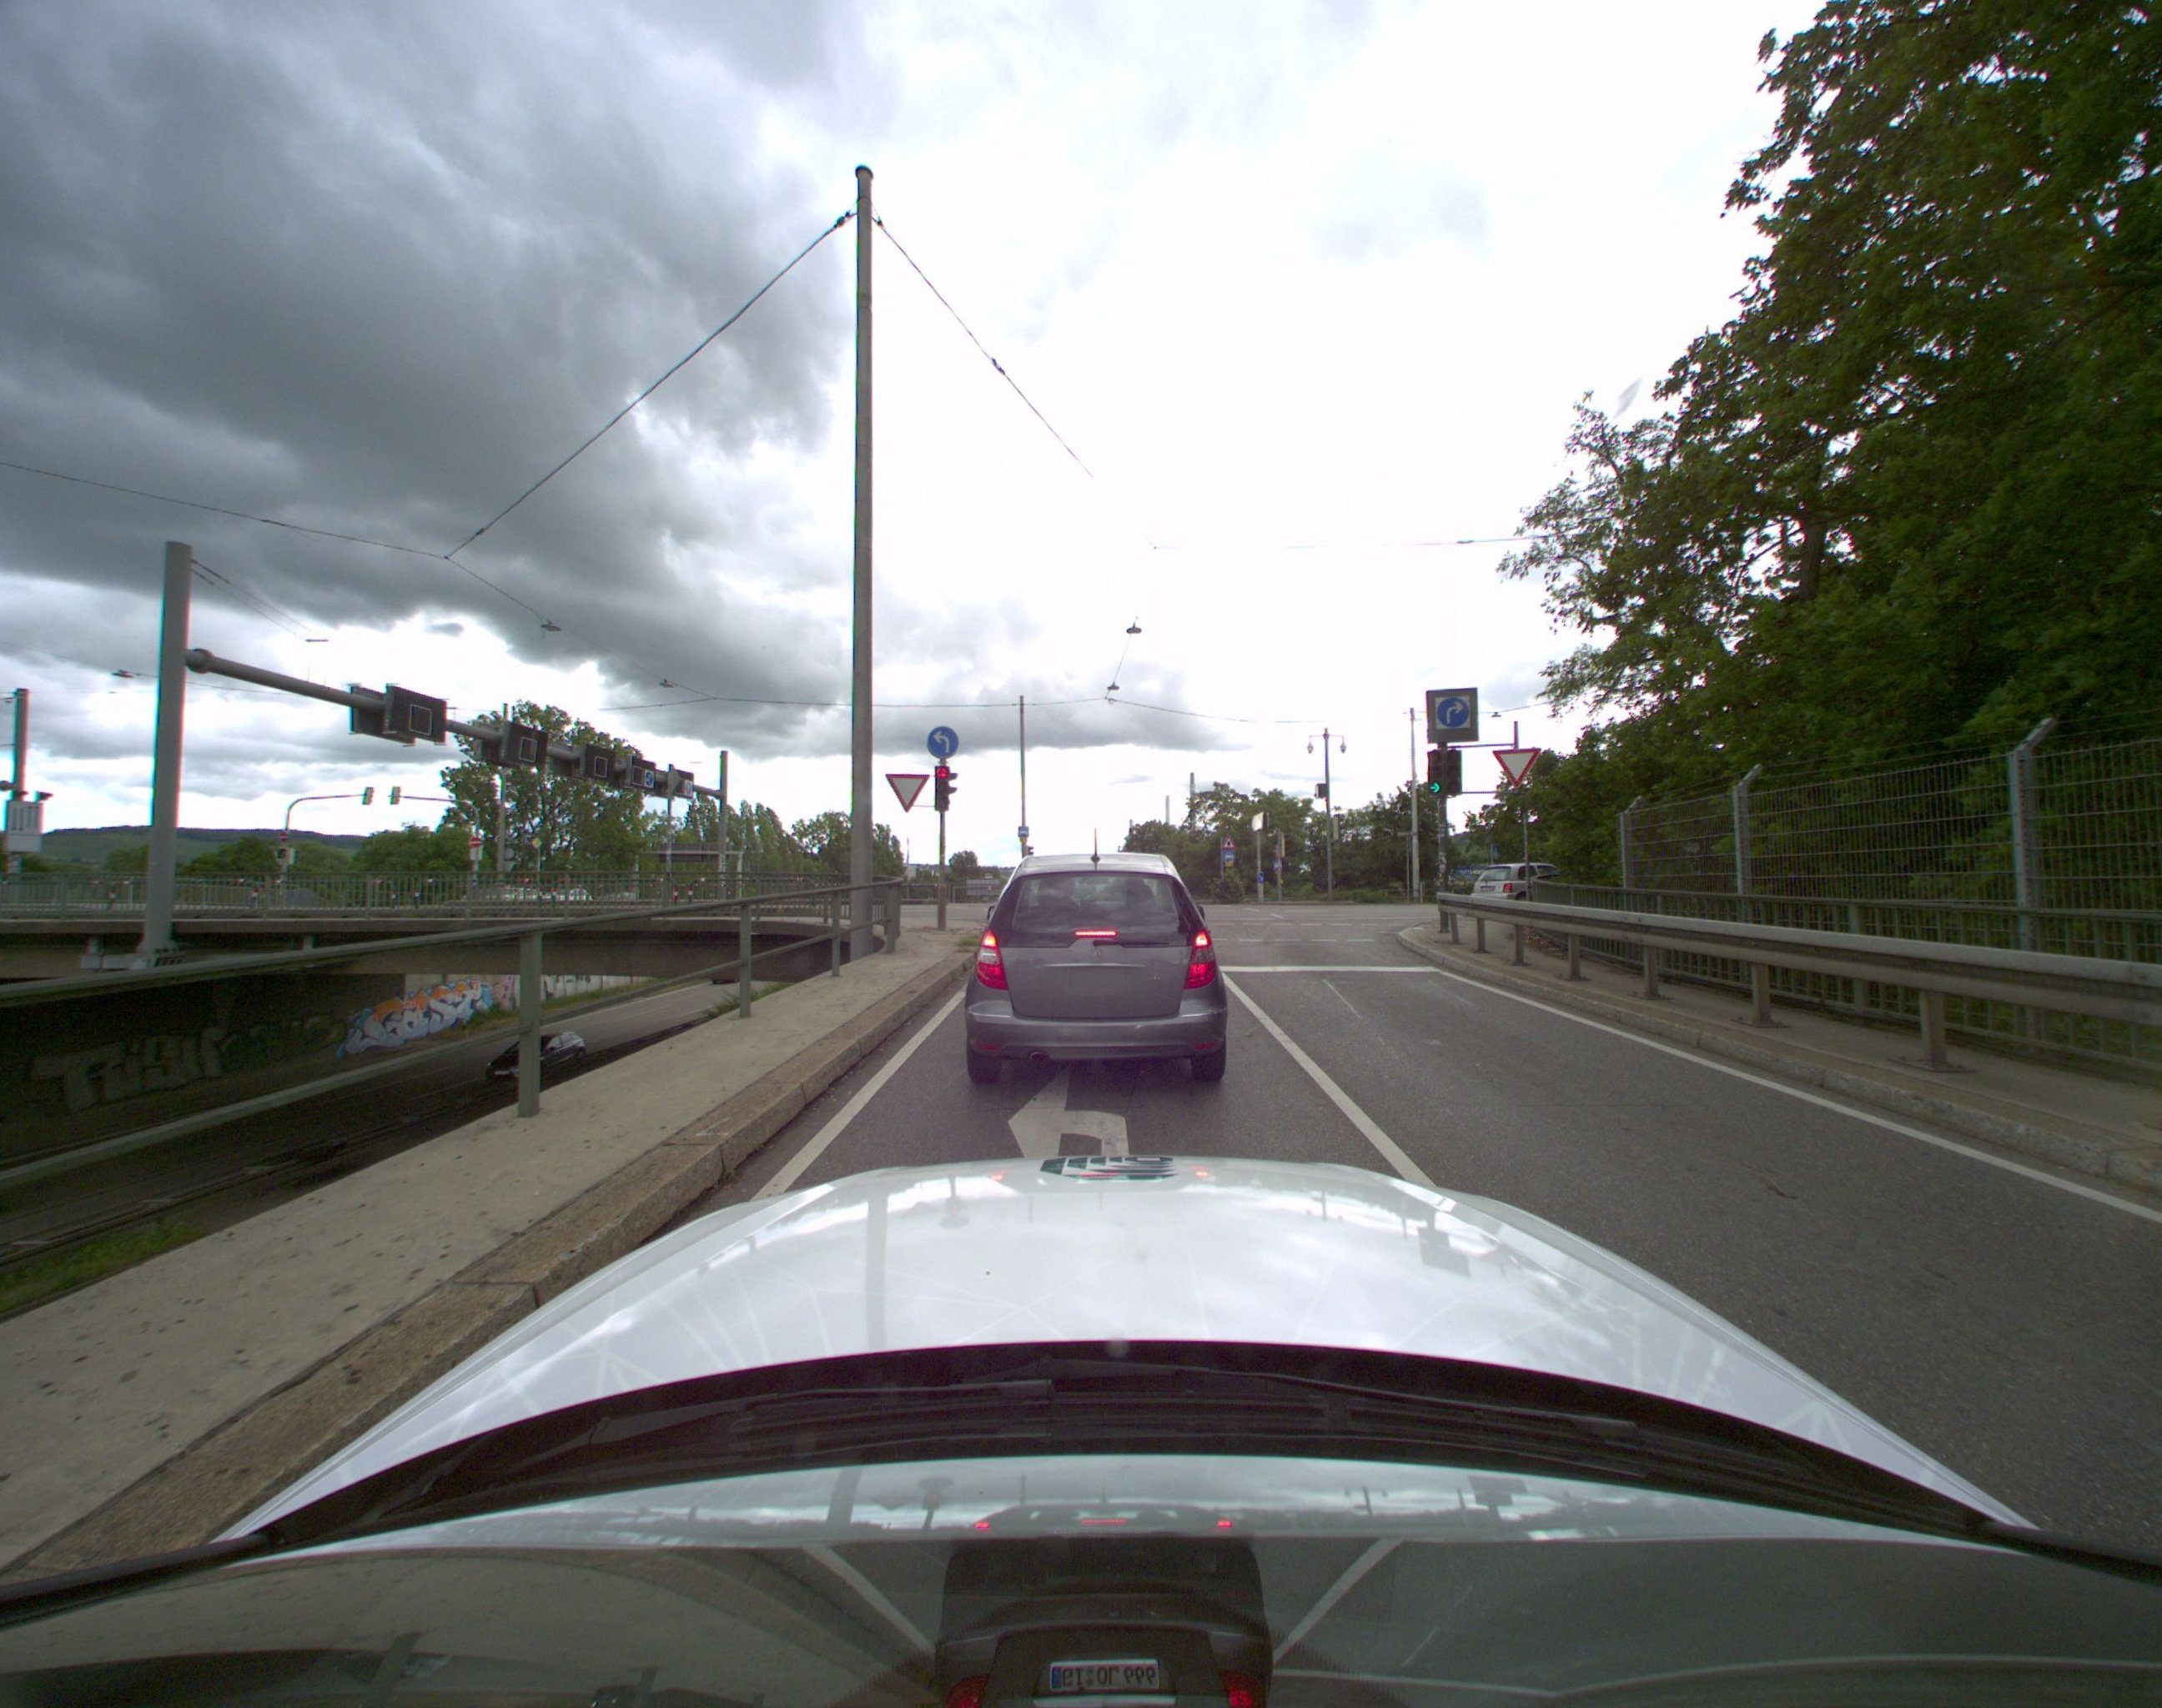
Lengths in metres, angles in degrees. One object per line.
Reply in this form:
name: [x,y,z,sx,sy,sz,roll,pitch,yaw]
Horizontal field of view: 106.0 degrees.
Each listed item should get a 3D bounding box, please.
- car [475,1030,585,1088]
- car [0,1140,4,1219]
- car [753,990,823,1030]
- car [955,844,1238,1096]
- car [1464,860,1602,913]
car: [-21.245,7.887,31.604,1.708,1.454,3.650,-2,-3,1]
car: [-25.237,7.243,16.223,1.875,1.719,4.183,-2,-3,2]
car: [-15.229,8.104,42.626,1.850,1.465,4.427,-1,-3,3]
car: [0.157,0.729,6.790,1.733,1.543,3.542,0,-1,2]
car: [13.240,0.909,23.894,3.440,1.432,1.581,-1,-1,-17]
